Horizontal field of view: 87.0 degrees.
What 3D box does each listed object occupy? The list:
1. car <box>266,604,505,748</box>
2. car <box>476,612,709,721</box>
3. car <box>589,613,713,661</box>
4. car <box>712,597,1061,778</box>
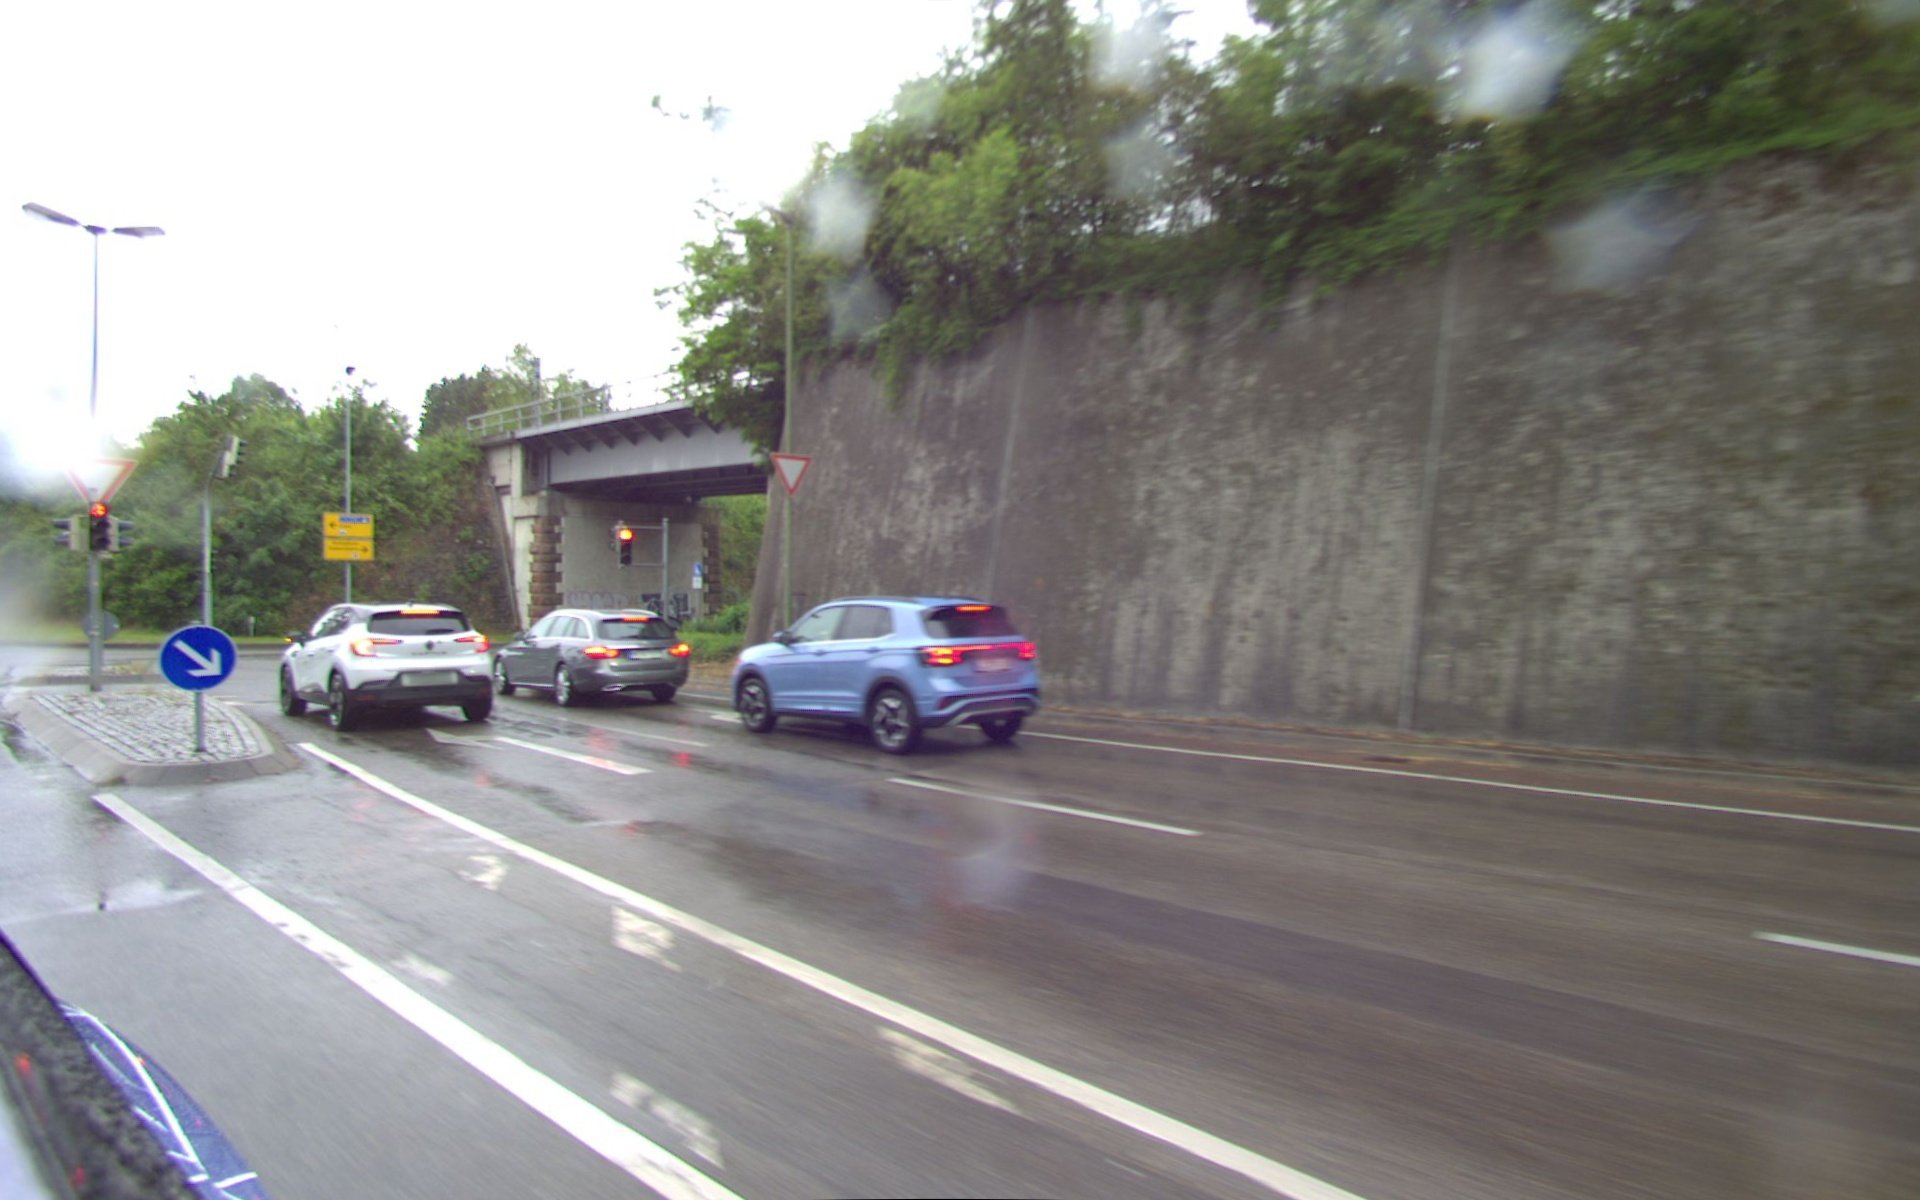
[{"bbox_3d":[-7.839,0.900,13.640,1.847,1.613,4.003,-1,0,-44],"label":"car"},{"bbox_3d":[-6.158,1.006,16.604,1.969,1.514,4.735,4,-3,-41],"label":"car"},{"bbox_3d":[-10.795,1.252,35.488,3.827,1.582,1.685,0,-1,-40],"label":"car"},{"bbox_3d":[-0.980,0.840,11.434,1.793,1.670,4.054,1,-1,-43],"label":"car"}]
